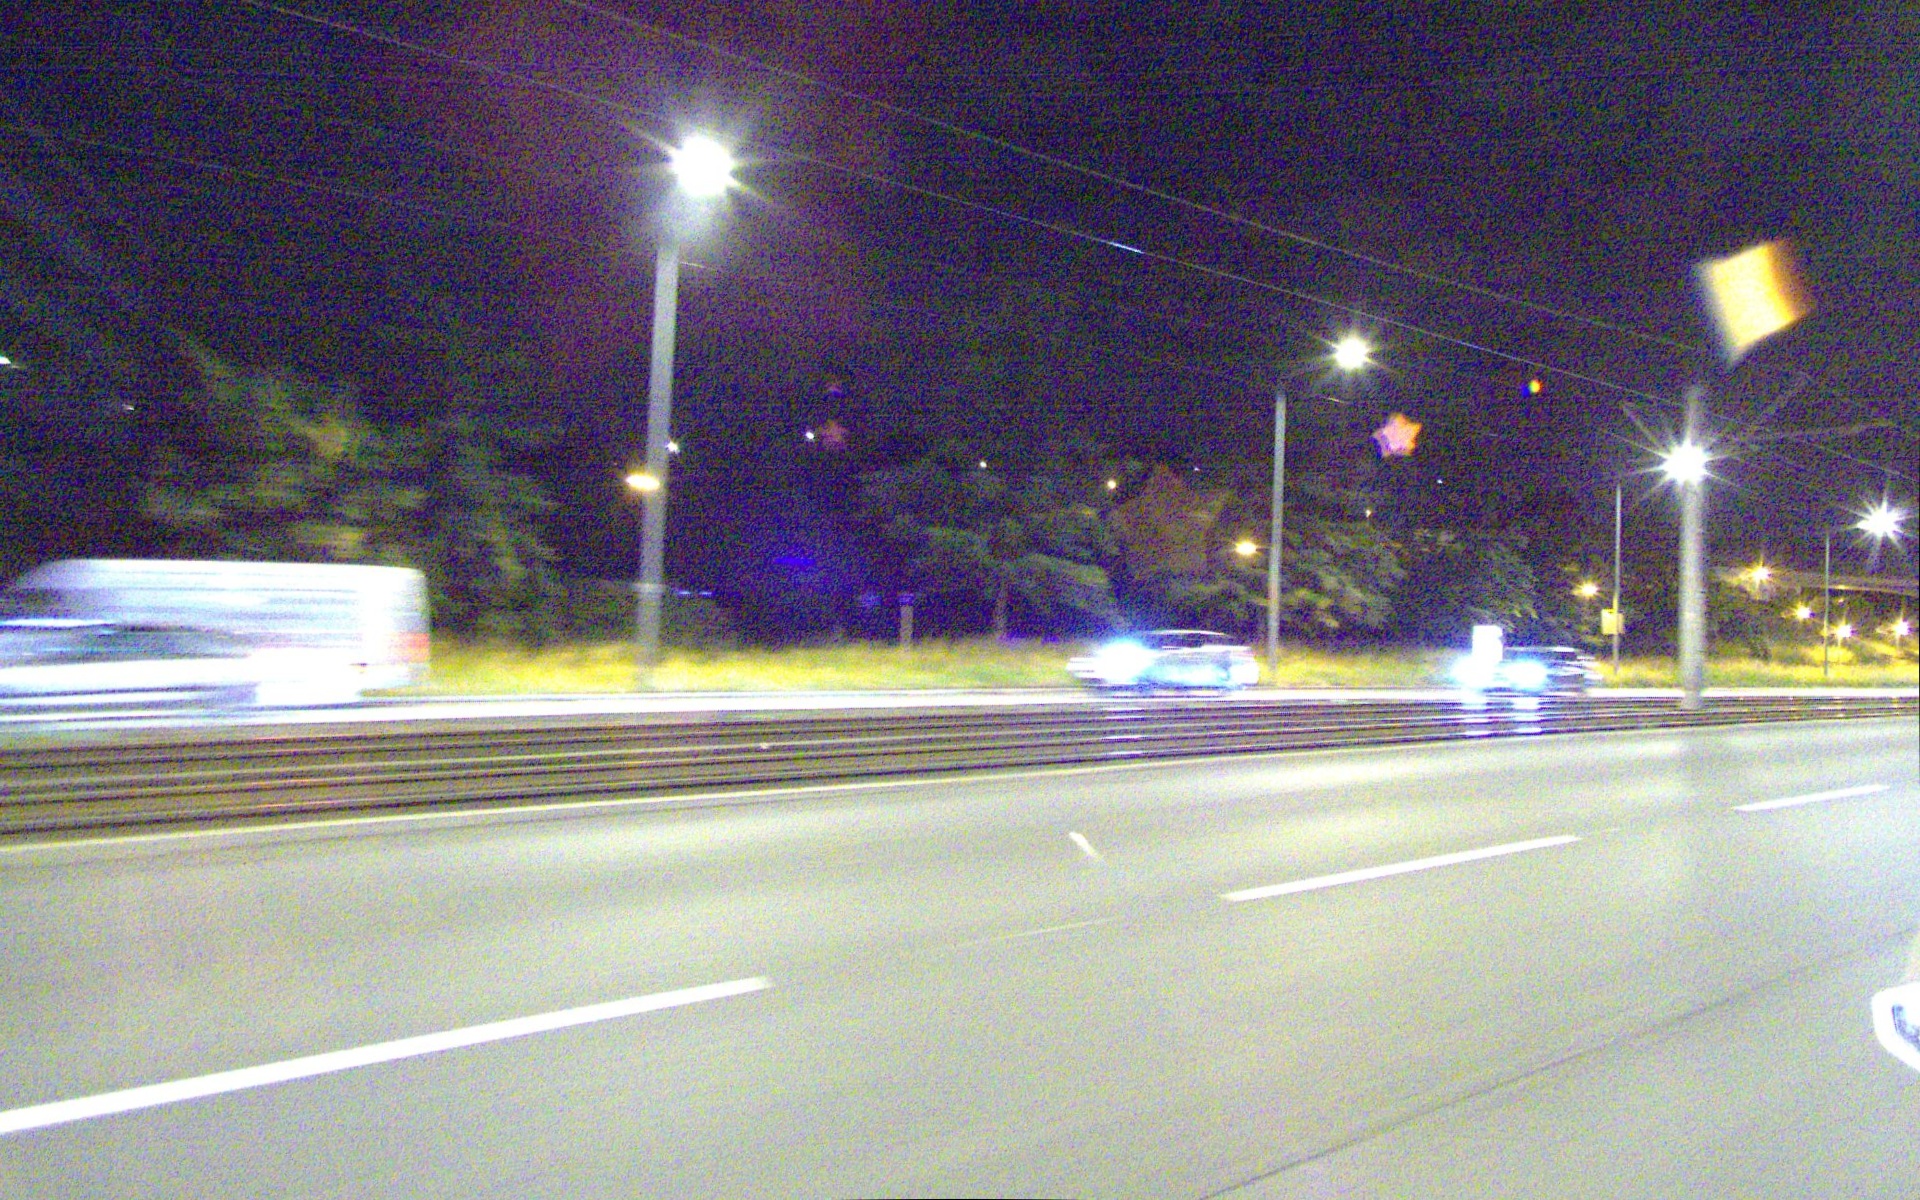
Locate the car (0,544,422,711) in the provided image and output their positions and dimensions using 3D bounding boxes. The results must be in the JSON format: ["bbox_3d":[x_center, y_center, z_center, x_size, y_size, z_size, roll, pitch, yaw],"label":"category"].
[{"bbox_3d":[-13.775,0.594,18.340,6.876,2.705,2.137,2,-4,-28],"label":"car"}]

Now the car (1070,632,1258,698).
[{"bbox_3d":[5.140,1.612,25.195,4.558,1.534,1.854,2,-3,-30],"label":"car"}]

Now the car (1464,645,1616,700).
[{"bbox_3d":[17.406,2.139,30.073,4.901,1.447,1.856,2,-1,-32],"label":"car"}]

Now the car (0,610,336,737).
[{"bbox_3d":[-10.574,0.917,12.847,4.286,1.458,1.613,2,-3,-30],"label":"car"}]
